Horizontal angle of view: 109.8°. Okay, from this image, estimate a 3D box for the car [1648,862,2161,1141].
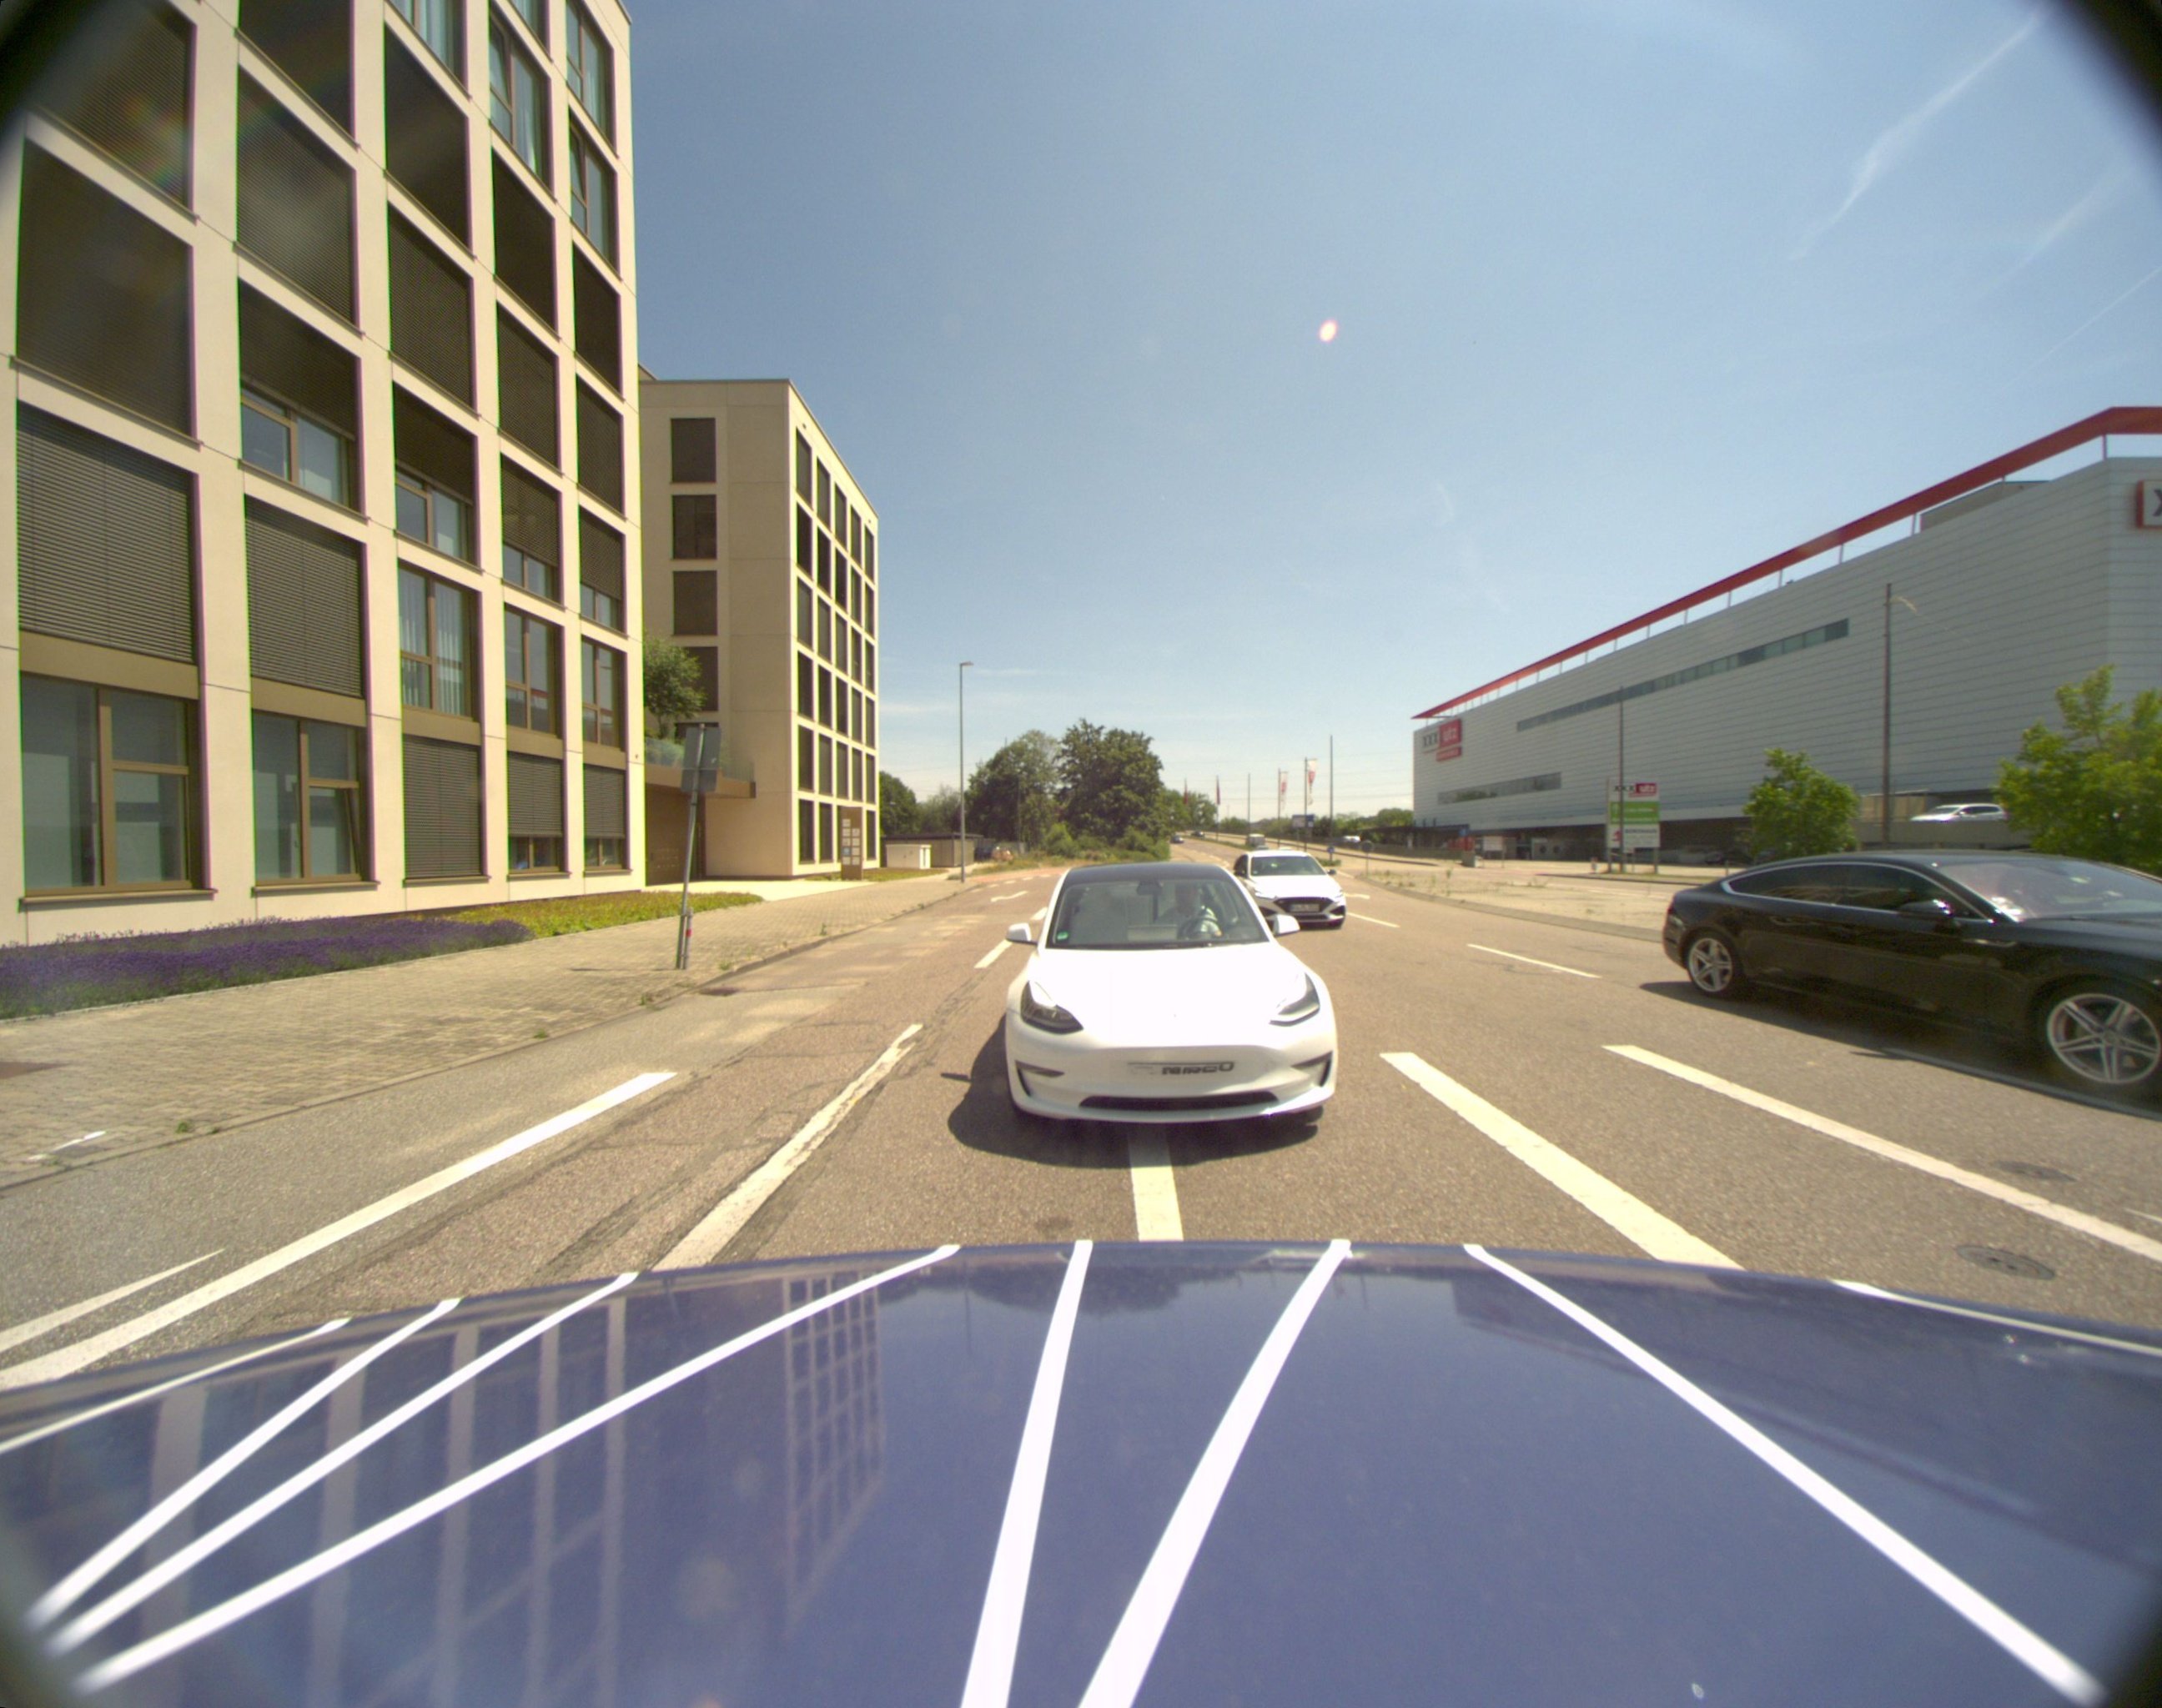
[{"bbox_3d":[6.594,0.793,5.488,1.752,1.382,4.534,-1,0,3],"label":"car"}]

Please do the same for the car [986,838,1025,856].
[{"bbox_3d":[-8.568,-0.772,86.089,4.005,1.942,1.996,0,1,-24],"label":"car"}]

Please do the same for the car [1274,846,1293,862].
[{"bbox_3d":[20.666,-0.007,77.596,1.677,1.566,4.060,-1,1,13],"label":"car"}]

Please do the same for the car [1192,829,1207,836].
[{"bbox_3d":[23.106,-4.115,148.114,1.862,1.295,3.890,1,1,-8],"label":"car"}]

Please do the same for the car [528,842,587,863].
[{"bbox_3d":[-46.591,-0.165,67.716,1.997,1.841,4.003,0,1,10],"label":"car"}]

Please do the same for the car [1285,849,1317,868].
[{"bbox_3d":[16.819,0.312,58.308,1.800,1.405,4.409,0,1,8],"label":"car"}]

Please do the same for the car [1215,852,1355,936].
[{"bbox_3d":[3.968,0.694,15.492,1.735,1.441,4.230,-1,0,1],"label":"car"}]

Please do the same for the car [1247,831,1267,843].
[{"bbox_3d":[27.813,-2.597,120.291,1.836,1.840,4.838,0,1,-3],"label":"car"}]

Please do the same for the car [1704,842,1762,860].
[{"bbox_3d":[61.157,-0.302,71.307,3.746,1.611,1.912,0,1,1],"label":"car"}]

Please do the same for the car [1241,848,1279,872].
[{"bbox_3d":[11.261,0.352,47.991,1.801,1.369,4.408,0,1,6],"label":"car"}]

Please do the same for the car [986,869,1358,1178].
[{"bbox_3d":[0.422,0.909,6.104,1.880,1.417,4.405,-2,0,-1],"label":"car"}]

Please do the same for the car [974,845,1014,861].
[{"bbox_3d":[-9.407,-0.164,82.083,4.005,1.652,1.834,0,1,-23],"label":"car"}]
